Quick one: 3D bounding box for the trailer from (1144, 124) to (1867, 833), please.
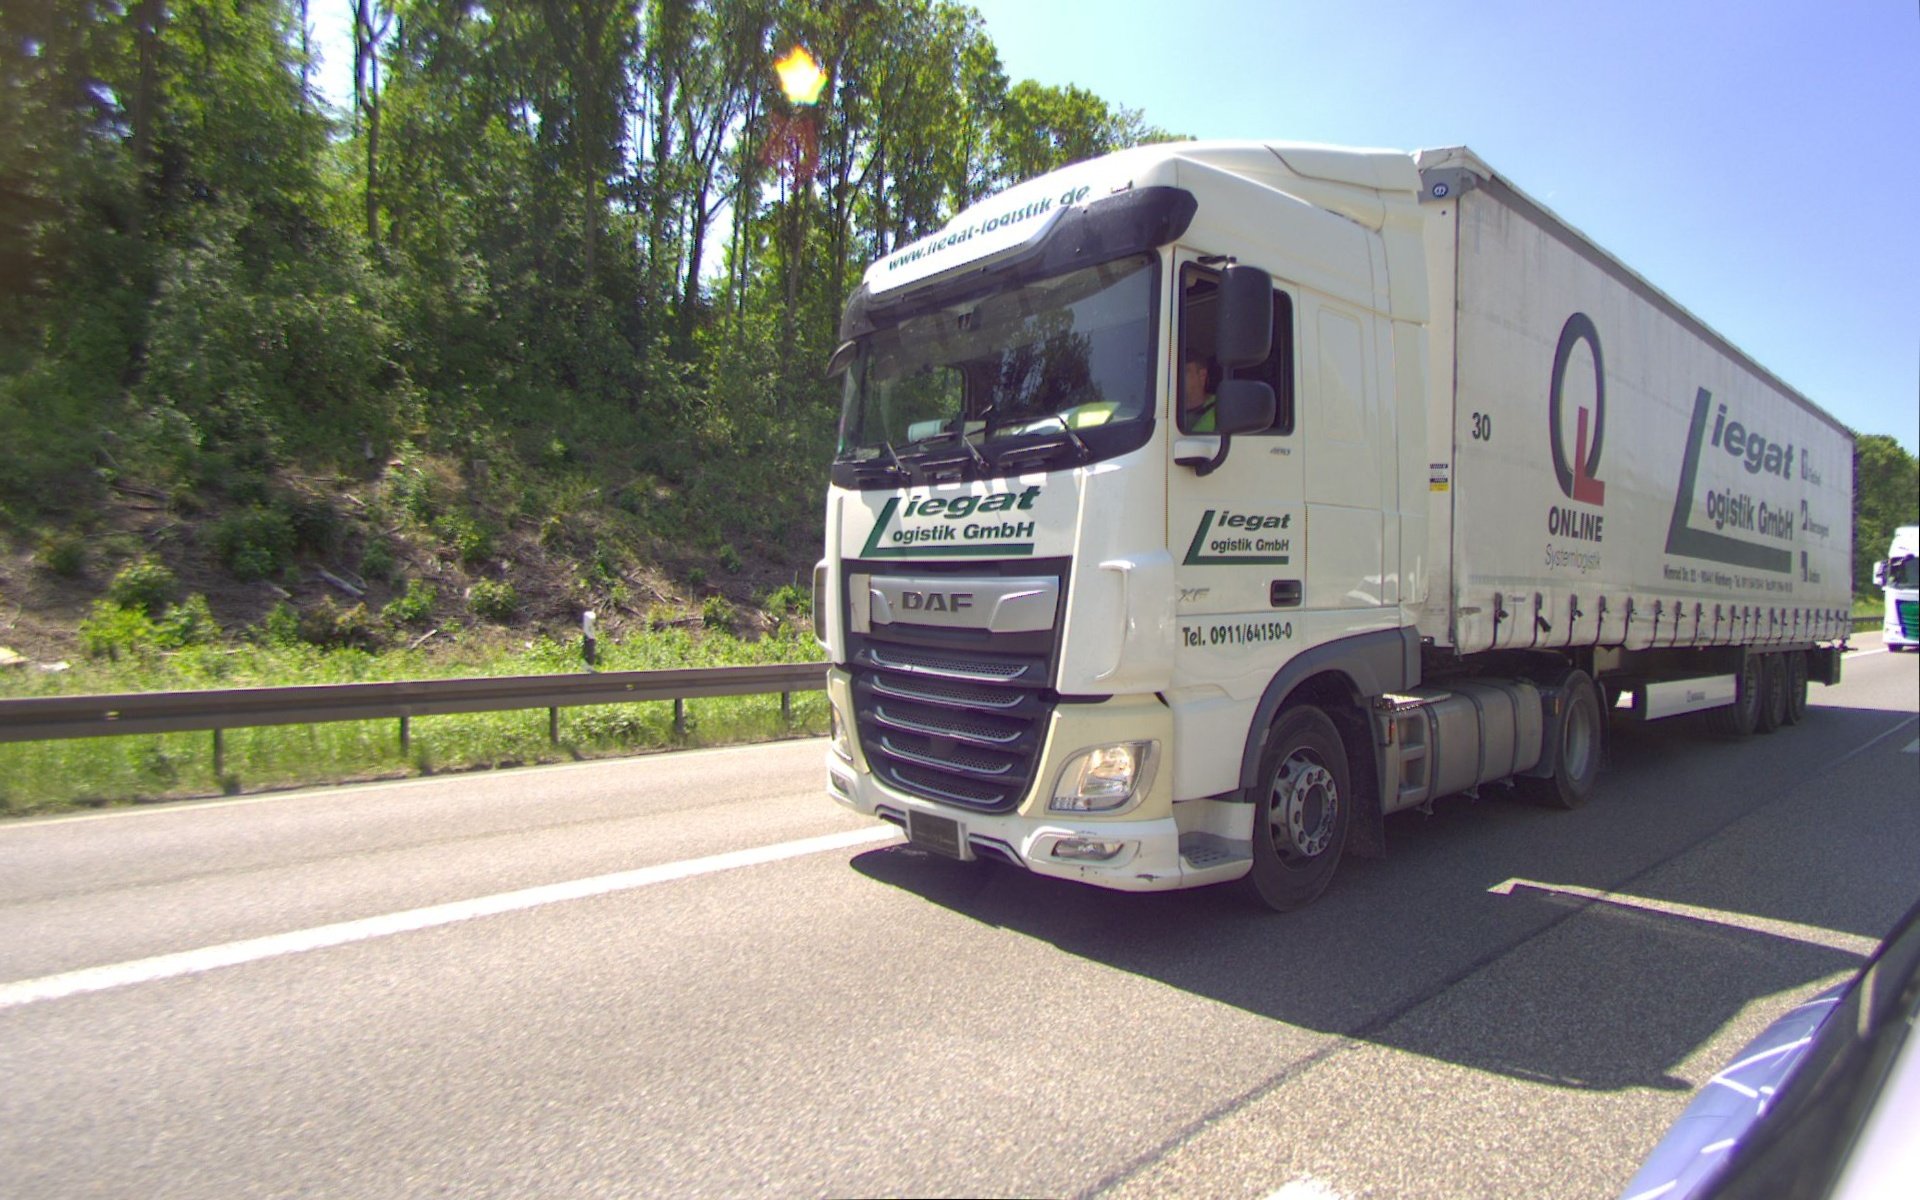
[{"bbox_3d":[7.305,-0.656,11.413,13.010,4.259,2.790,1,-1,-41],"label":"trailer"}]

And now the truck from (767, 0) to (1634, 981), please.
[{"bbox_3d":[1.971,-0.683,6.747,5.766,4.259,2.790,1,-1,-41],"label":"truck"}]

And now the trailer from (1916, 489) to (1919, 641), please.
[{"bbox_3d":[38.849,-1.264,37.993,15.001,5.103,2.573,-1,1,-40],"label":"trailer"}]

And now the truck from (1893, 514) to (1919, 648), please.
[{"bbox_3d":[32.251,-0.616,32.512,6.508,4.080,2.541,-1,1,-40],"label":"truck"}]
